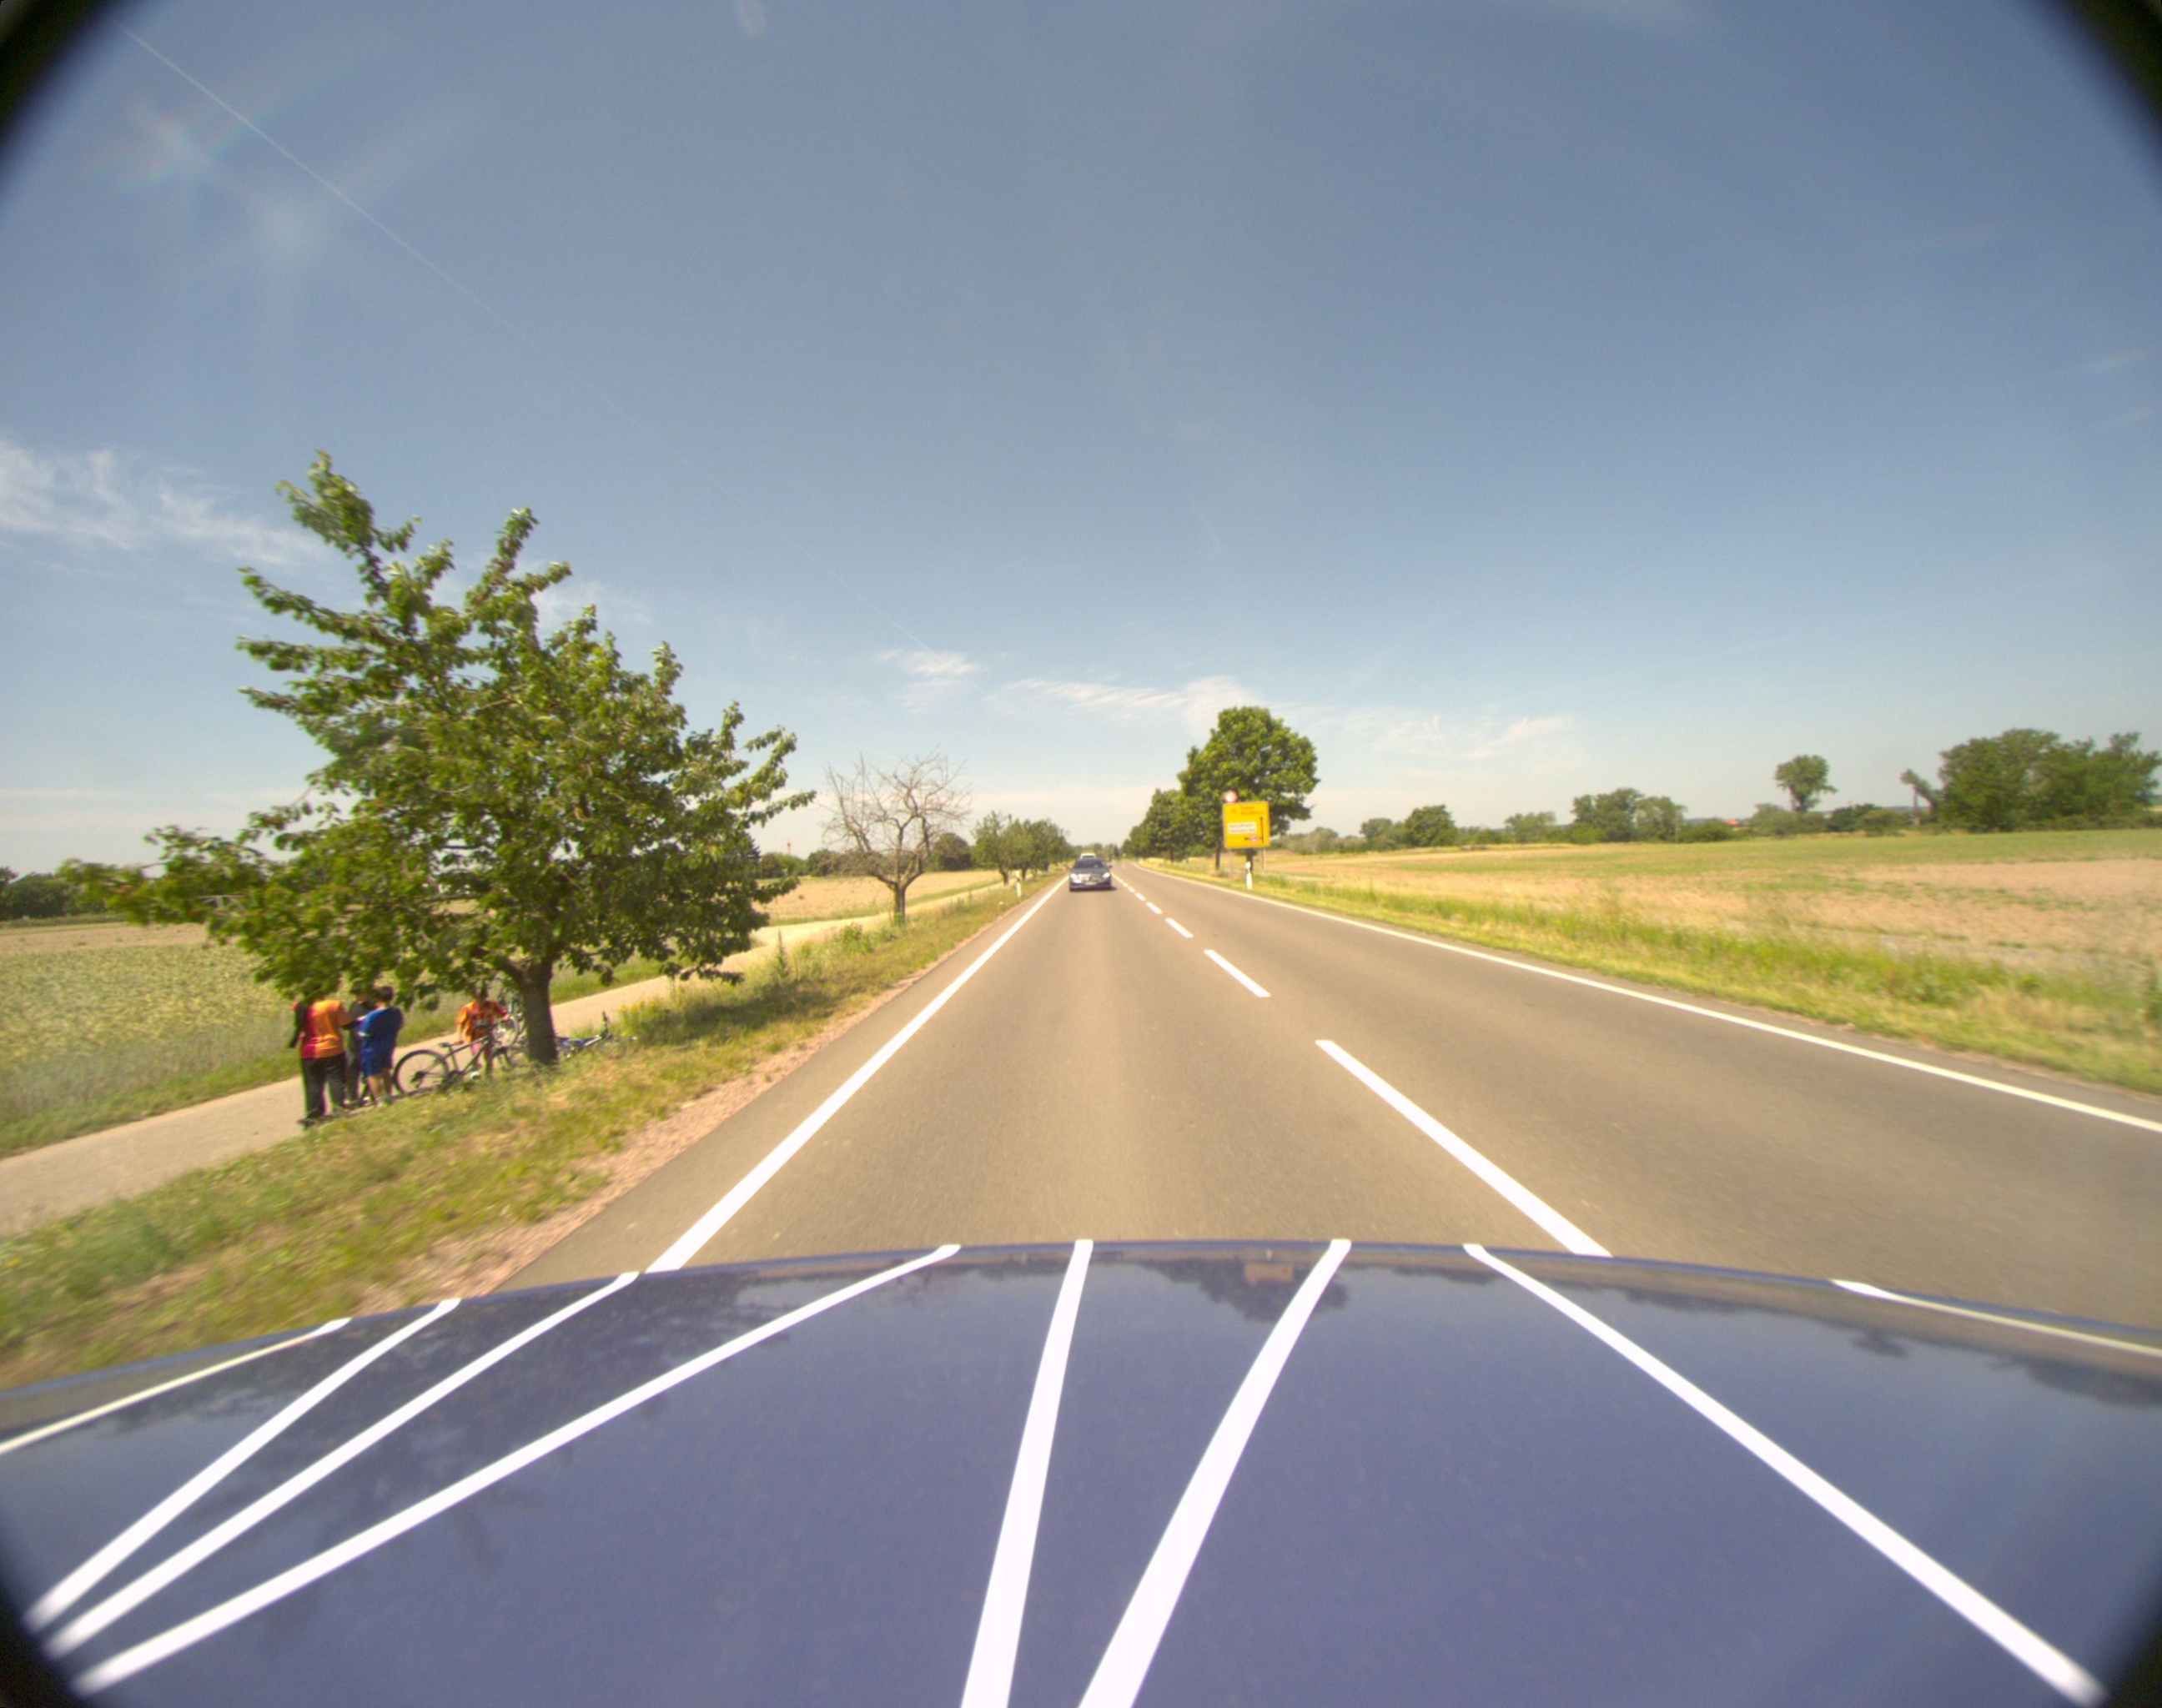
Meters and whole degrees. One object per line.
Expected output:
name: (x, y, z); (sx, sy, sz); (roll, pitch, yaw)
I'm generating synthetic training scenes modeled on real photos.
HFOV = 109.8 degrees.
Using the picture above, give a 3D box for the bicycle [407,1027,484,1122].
bicycle: (-7.550, 2.581, 9.017); (1.116, 0.855, 0.443); (-2, 0, 38)

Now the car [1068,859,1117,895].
car: (0.441, 0.925, 32.374); (1.954, 1.390, 4.000); (-1, 0, 0)

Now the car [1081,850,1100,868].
car: (1.117, 0.594, 87.847); (1.998, 1.907, 4.206); (-3, 0, 1)

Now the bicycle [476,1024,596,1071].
bicycle: (-7.757, 2.752, 10.899); (1.234, 0.280, 1.013); (-3, 0, -26)

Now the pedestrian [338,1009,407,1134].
pedestrian: (-8.244, 2.508, 8.844); (0.486, 1.288, 0.443); (-2, 1, 33)

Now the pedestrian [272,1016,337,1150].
pedestrian: (-8.609, 2.511, 8.424); (0.486, 1.306, 0.443); (-2, 1, 43)

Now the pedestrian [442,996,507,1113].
pedestrian: (-7.562, 2.482, 9.492); (0.442, 1.288, 0.486); (-3, 1, -17)

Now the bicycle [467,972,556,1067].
bicycle: (-9.083, 2.599, 12.178); (0.477, 1.158, 1.680); (-3, 0, -14)

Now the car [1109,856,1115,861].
car: (10.524, 1.453, 258.357); (1.998, 1.543, 4.317); (-3, 0, 3)

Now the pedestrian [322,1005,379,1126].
pedestrian: (-8.815, 2.529, 9.175); (0.443, 1.288, 0.486); (-3, 1, -44)
